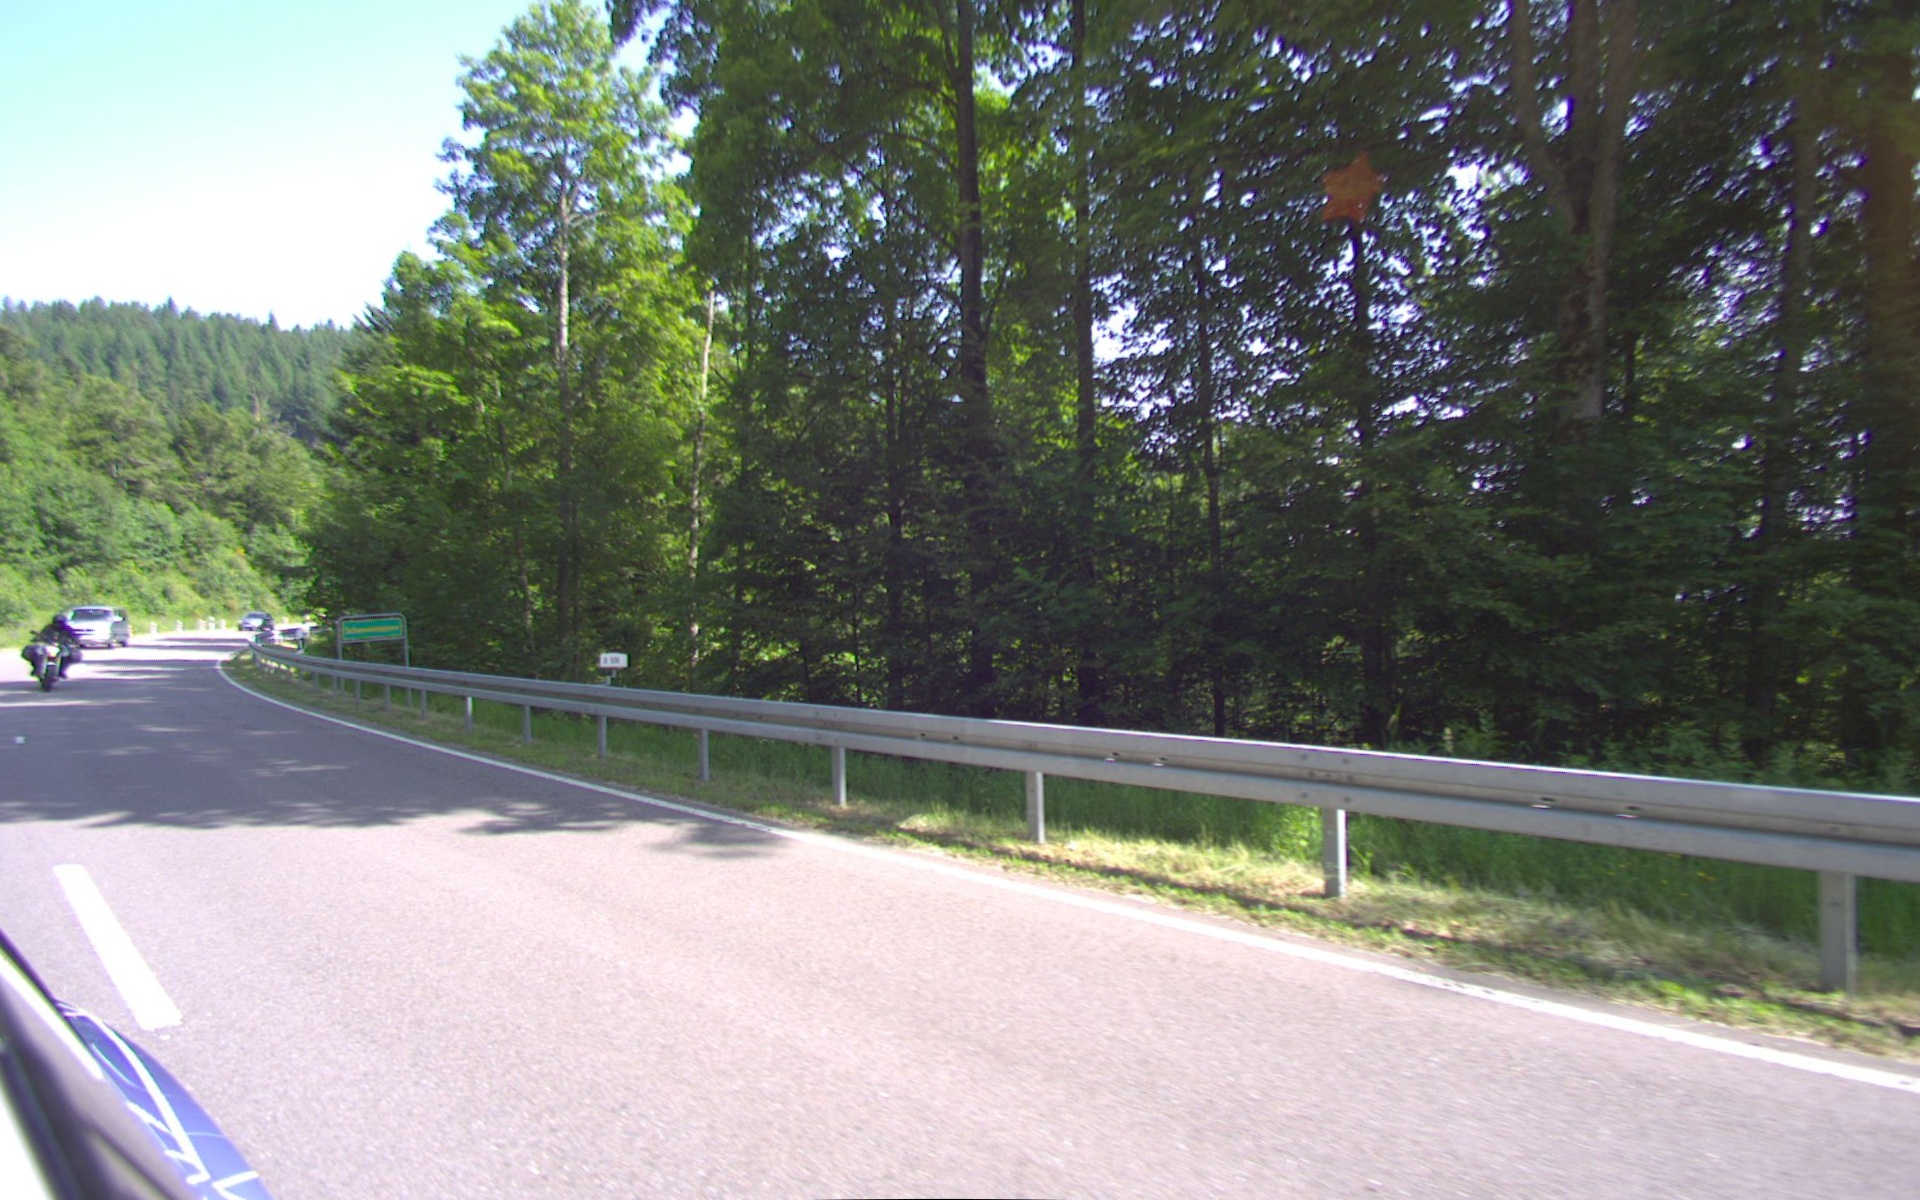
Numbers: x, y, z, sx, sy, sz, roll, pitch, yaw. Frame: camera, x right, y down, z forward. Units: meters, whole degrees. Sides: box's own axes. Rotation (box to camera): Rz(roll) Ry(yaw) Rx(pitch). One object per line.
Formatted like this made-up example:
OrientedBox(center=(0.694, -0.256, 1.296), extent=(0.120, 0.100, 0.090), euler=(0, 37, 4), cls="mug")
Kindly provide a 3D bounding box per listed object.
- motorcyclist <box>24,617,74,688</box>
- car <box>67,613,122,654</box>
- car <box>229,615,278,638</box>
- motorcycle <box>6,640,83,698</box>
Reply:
OrientedBox(center=(-19.264, 1.086, 21.409), extent=(0.706, 1.441, 1.001), euler=(0, -1, -38), cls="motorcyclist")
OrientedBox(center=(-39.255, 1.512, 45.969), extent=(1.627, 1.773, 3.802), euler=(2, -2, -37), cls="car")
OrientedBox(center=(-55.156, 2.053, 79.108), extent=(1.966, 1.655, 4.012), euler=(0, 0, -16), cls="car")
OrientedBox(center=(-19.316, 1.433, 21.398), extent=(1.093, 1.132, 1.964), euler=(2, -2, -40), cls="motorcycle")
